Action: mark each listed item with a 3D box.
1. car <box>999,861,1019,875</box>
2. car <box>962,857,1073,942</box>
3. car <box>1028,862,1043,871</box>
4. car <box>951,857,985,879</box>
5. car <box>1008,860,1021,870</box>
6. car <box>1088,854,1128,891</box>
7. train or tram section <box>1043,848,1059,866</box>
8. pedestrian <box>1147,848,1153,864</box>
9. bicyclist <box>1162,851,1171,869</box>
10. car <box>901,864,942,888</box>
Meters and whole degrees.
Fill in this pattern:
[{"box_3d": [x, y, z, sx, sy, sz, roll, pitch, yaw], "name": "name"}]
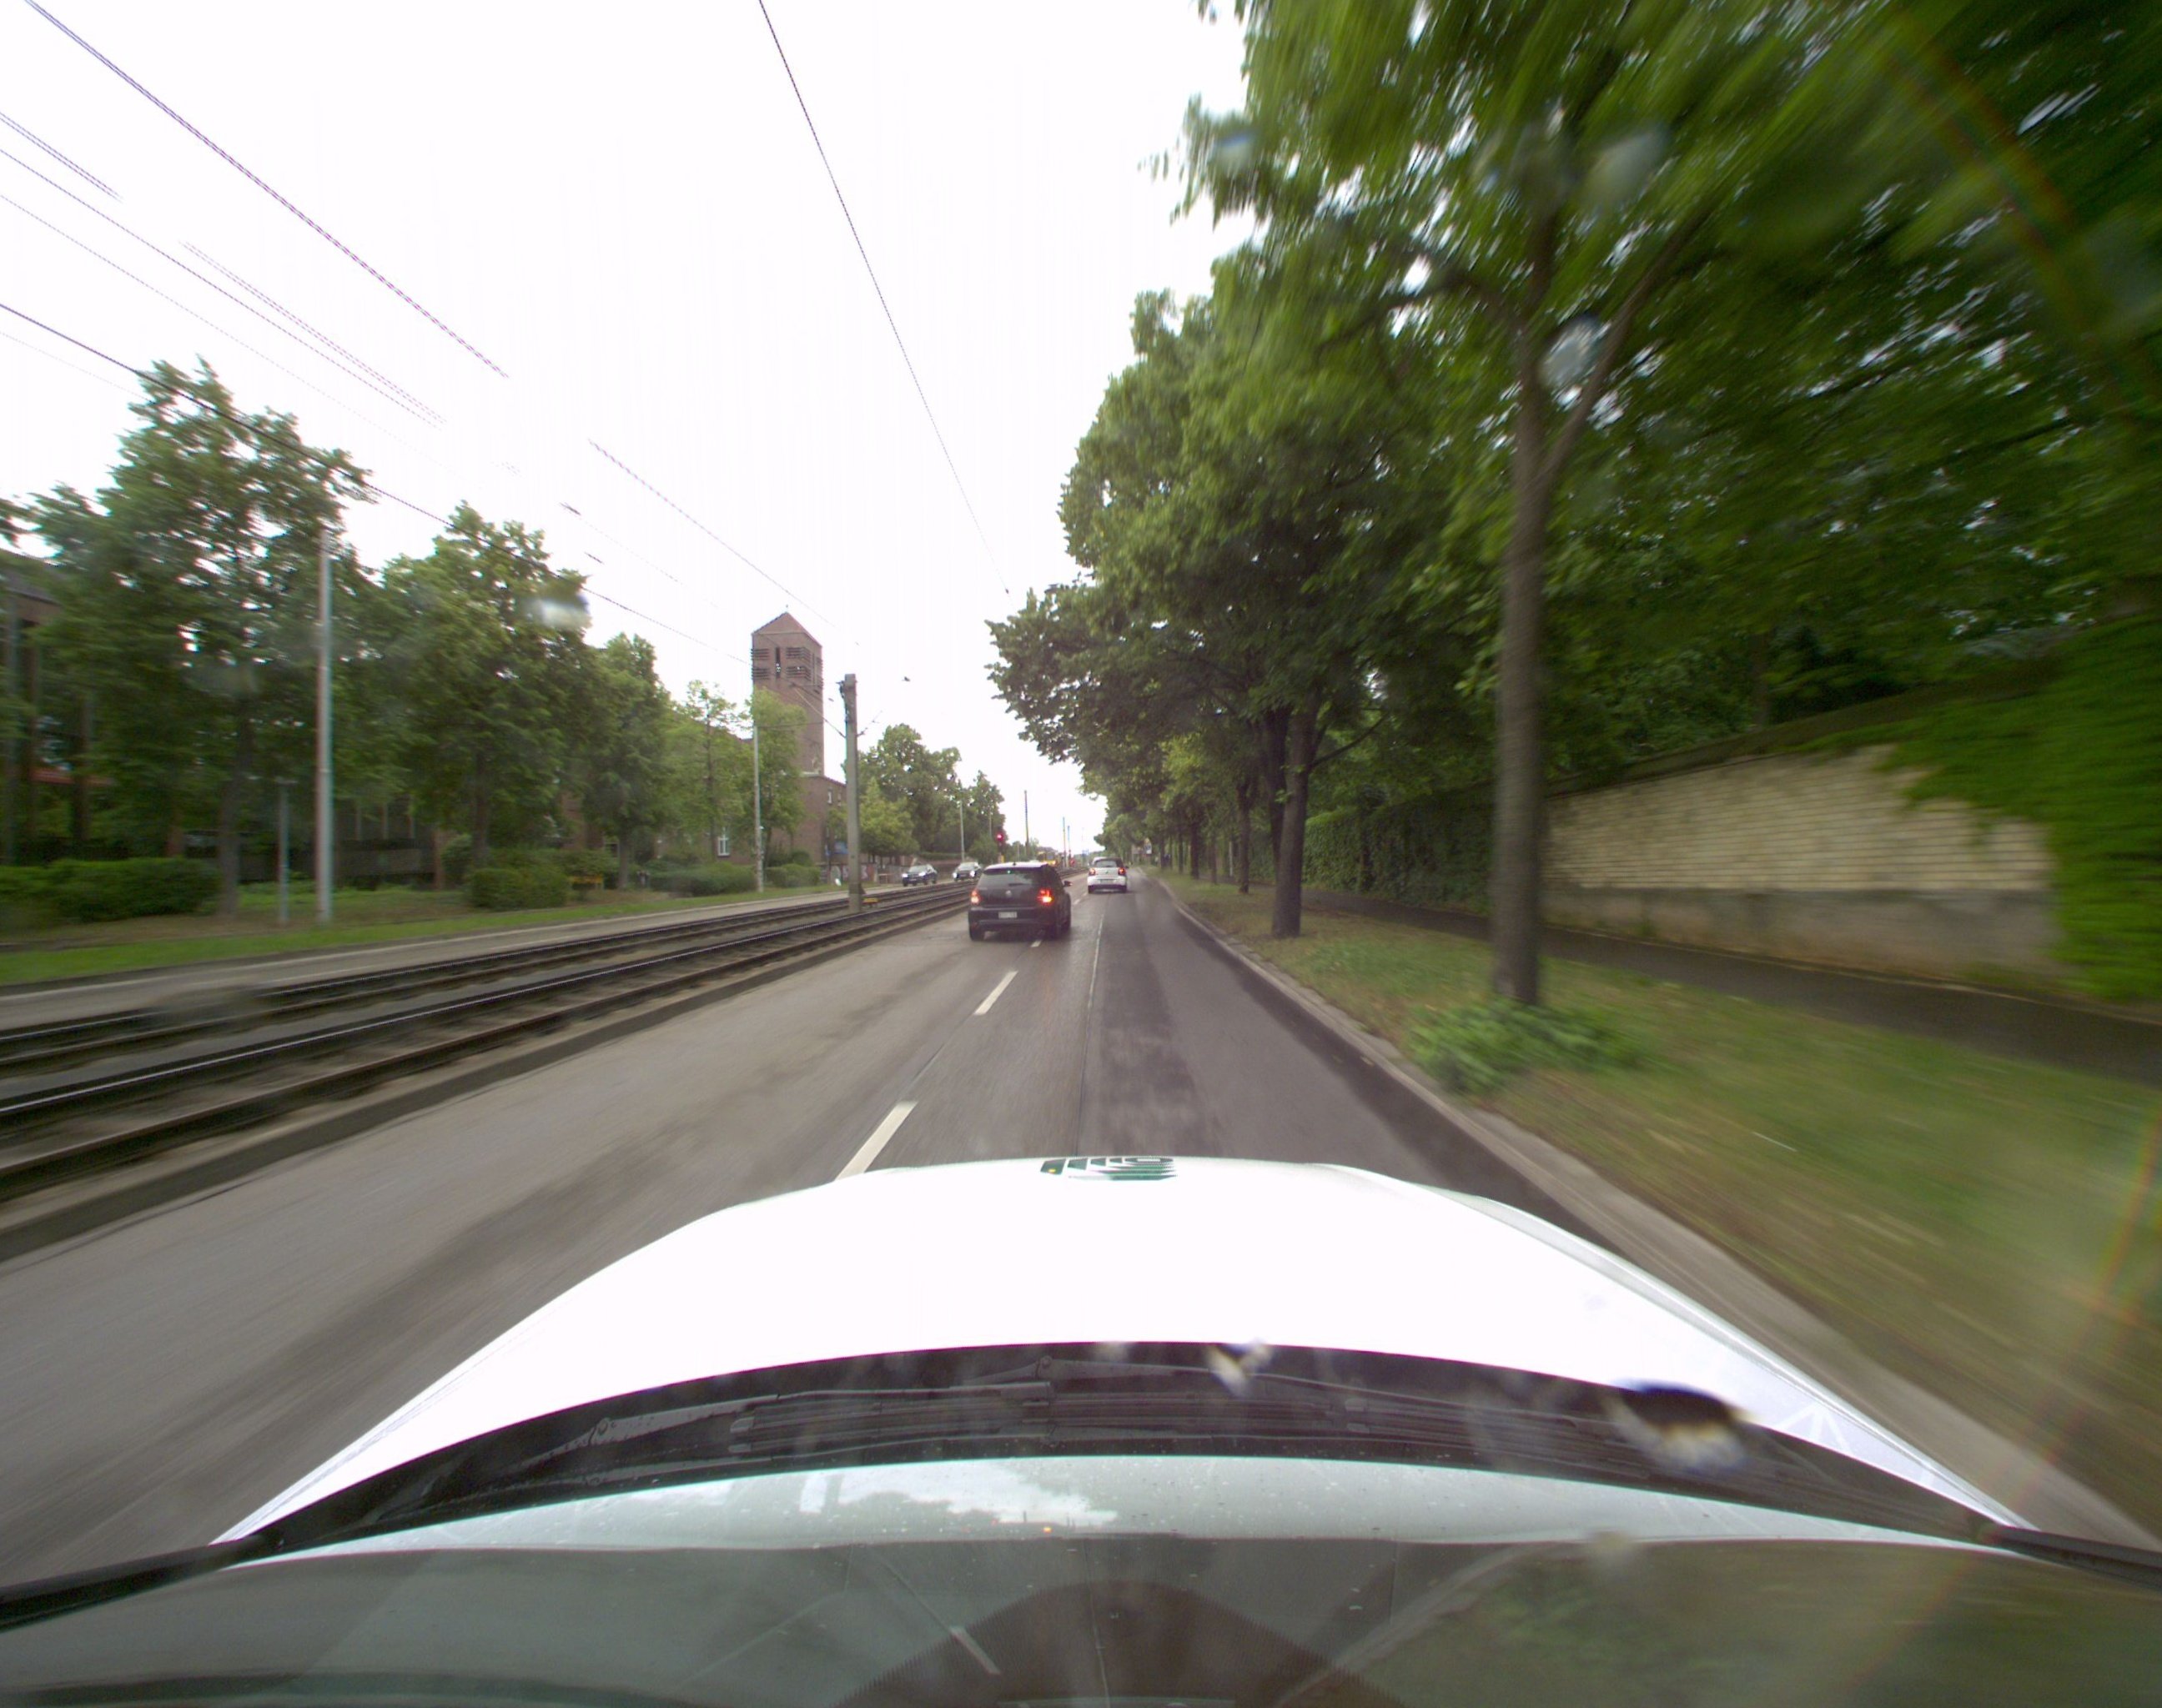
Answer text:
[{"box_3d": [-8.083, 1.577, 91.983, 1.673, 1.461, 3.612, -2, 0, 4], "name": "car"}, {"box_3d": [-1.153, 0.818, 16.461, 1.787, 1.485, 3.966, -1, 0, 2], "name": "car"}, {"box_3d": [-7.980, 2.182, 143.424, 1.985, 1.662, 5.130, -1, 0, 2], "name": "car"}, {"box_3d": [-9.333, 1.127, 67.623, 1.826, 1.656, 4.246, -2, 0, 5], "name": "car"}, {"box_3d": [-10.451, 1.756, 128.421, 1.610, 1.434, 4.002, -1, 0, 2], "name": "car"}, {"box_3d": [1.223, 0.779, 35.790, 1.669, 1.531, 3.725, 0, 0, 3], "name": "car"}, {"box_3d": [-6.260, 0.612, 169.576, 2.823, 3.605, 9.269, -1, 0, 0], "name": "train or tram section"}, {"box_3d": [13.232, 0.441, 156.230, 1.159, 2.977, 0.948, -1, -1, 2], "name": "pedestrian"}, {"box_3d": [8.195, 0.577, 77.814, 0.760, 1.616, 0.999, -2, 0, 2], "name": "bicyclist"}, {"box_3d": [-12.443, 1.680, 63.917, 2.004, 1.656, 4.620, -2, 0, 3], "name": "car"}]
